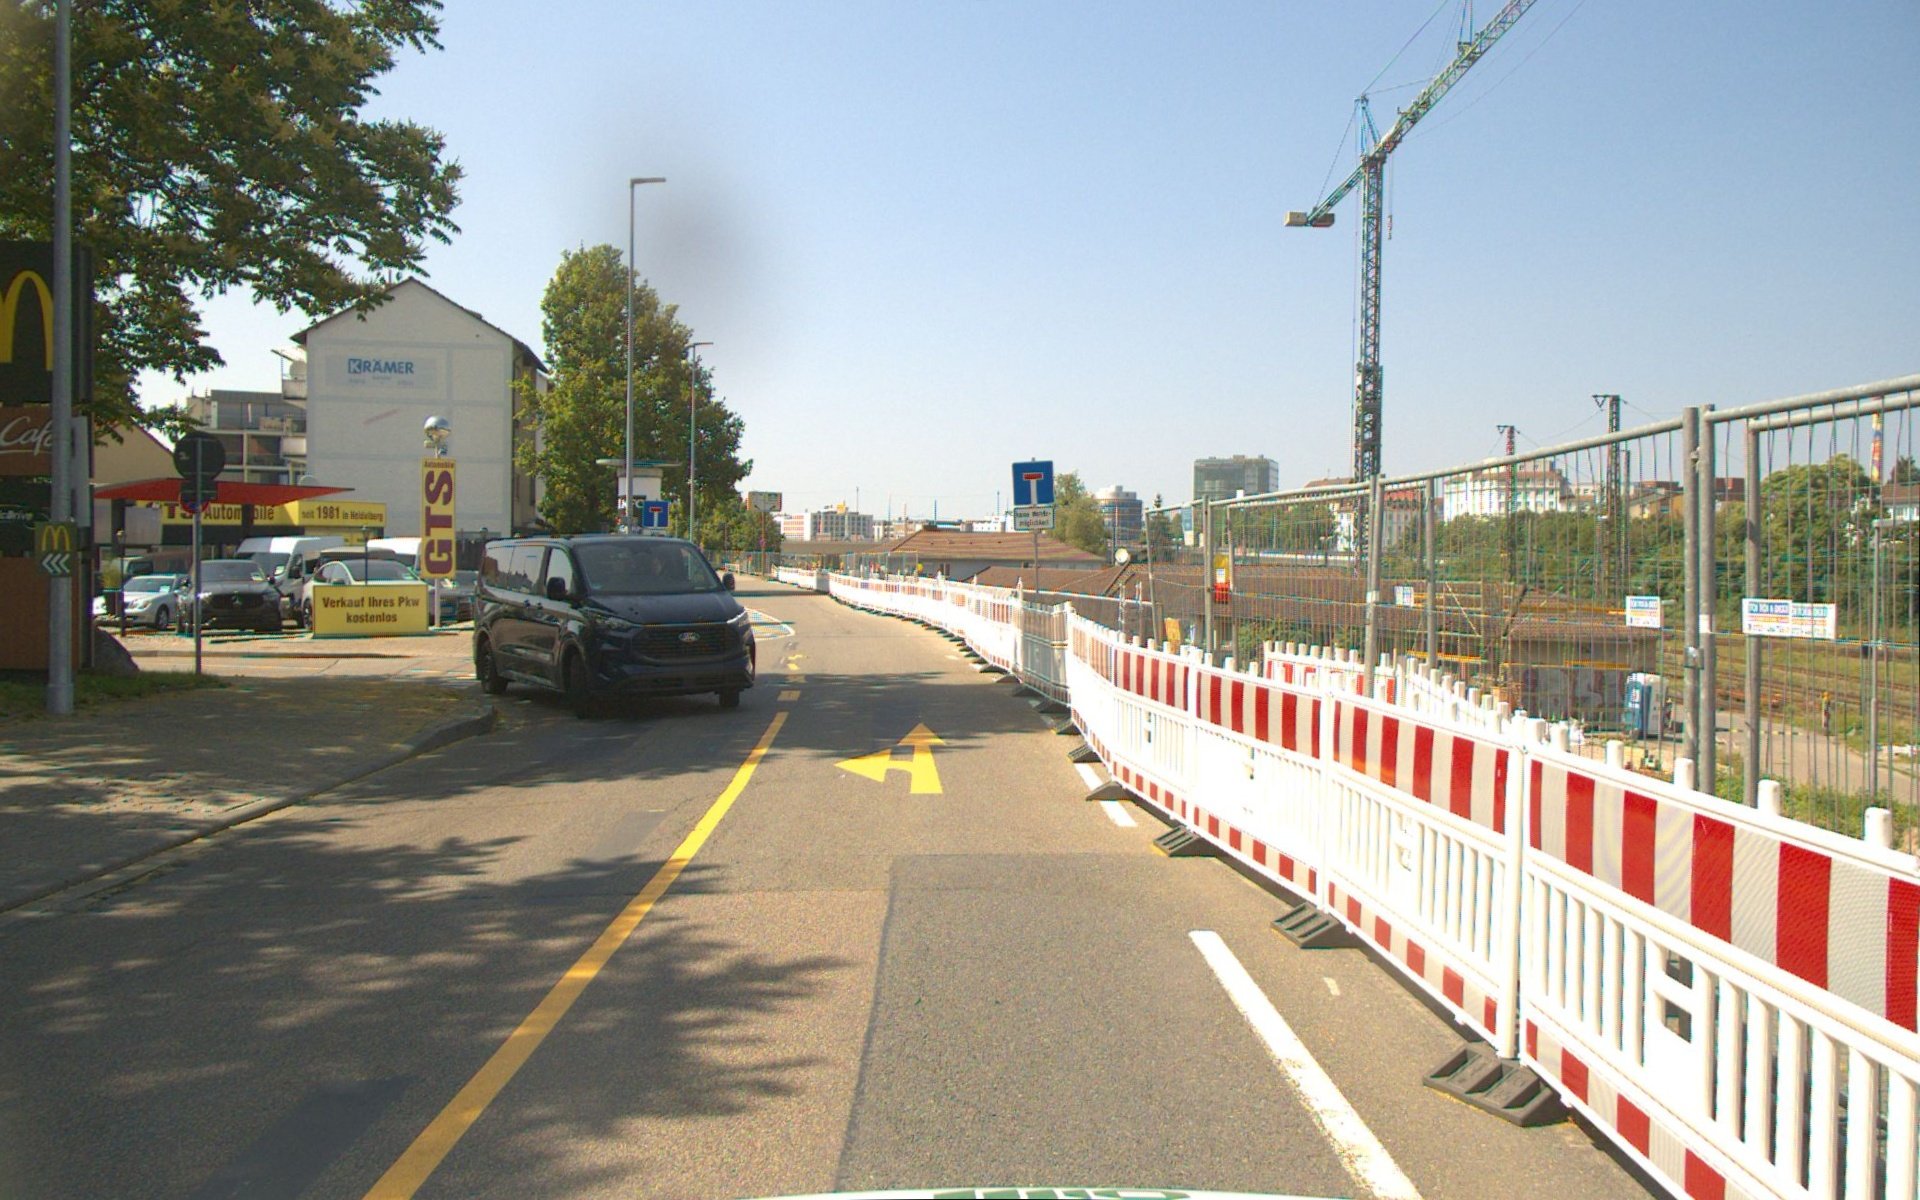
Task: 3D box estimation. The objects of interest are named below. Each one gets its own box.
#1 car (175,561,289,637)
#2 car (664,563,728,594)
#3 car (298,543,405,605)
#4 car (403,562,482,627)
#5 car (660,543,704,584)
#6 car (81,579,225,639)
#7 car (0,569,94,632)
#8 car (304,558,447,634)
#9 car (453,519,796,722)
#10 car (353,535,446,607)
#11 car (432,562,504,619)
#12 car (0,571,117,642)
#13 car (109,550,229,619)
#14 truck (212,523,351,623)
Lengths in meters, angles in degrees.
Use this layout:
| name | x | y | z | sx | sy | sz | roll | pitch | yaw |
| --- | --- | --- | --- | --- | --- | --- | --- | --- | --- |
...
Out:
| name | x | y | z | sx | sy | sz | roll | pitch | yaw |
| --- | --- | --- | --- | --- | --- | --- | --- | --- | --- |
| car | -16.760 | -0.042 | 37.953 | 2.024 | 1.622 | 4.381 | 1 | 0 | -29 |
| car | -14.977 | -1.224 | 93.827 | 1.696 | 1.666 | 3.260 | 1 | 0 | 42 |
| car | -18.572 | -0.788 | 50.709 | 1.841 | 1.768 | 4.718 | 2 | 1 | -5 |
| car | -14.111 | -0.176 | 44.976 | 1.830 | 1.657 | 3.976 | 0 | 1 | -21 |
| car | -18.027 | -2.334 | 107.521 | 2.489 | 2.564 | 5.111 | 1 | 0 | -6 |
| car | -21.463 | 0.222 | 44.141 | 1.751 | 1.513 | 4.001 | 1 | 0 | 2 |
| car | -25.411 | -0.006 | 43.510 | 4.302 | 1.612 | 1.968 | 1 | 0 | -44 |
| car | -14.146 | -0.108 | 39.941 | 1.982 | 1.755 | 3.942 | 1 | 0 | -40 |
| car | -4.187 | 0.149 | 19.783 | 2.157 | 2.002 | 5.383 | -4 | 3 | -33 |
| car | -19.161 | -0.990 | 56.716 | 2.095 | 2.324 | 4.703 | 1 | 1 | -8 |
| car | -15.003 | -0.308 | 50.352 | 1.830 | 1.657 | 3.976 | 0 | 1 | -21 |
| car | -21.212 | 0.132 | 38.255 | 1.754 | 1.536 | 3.994 | 1 | 0 | -7 |
| car | -24.794 | -0.479 | 52.017 | 1.955 | 2.049 | 4.490 | 1 | 0 | -6 |
| truck | -21.612 | -0.854 | 52.964 | 2.224 | 2.954 | 5.939 | 2 | 1 | -3 |
